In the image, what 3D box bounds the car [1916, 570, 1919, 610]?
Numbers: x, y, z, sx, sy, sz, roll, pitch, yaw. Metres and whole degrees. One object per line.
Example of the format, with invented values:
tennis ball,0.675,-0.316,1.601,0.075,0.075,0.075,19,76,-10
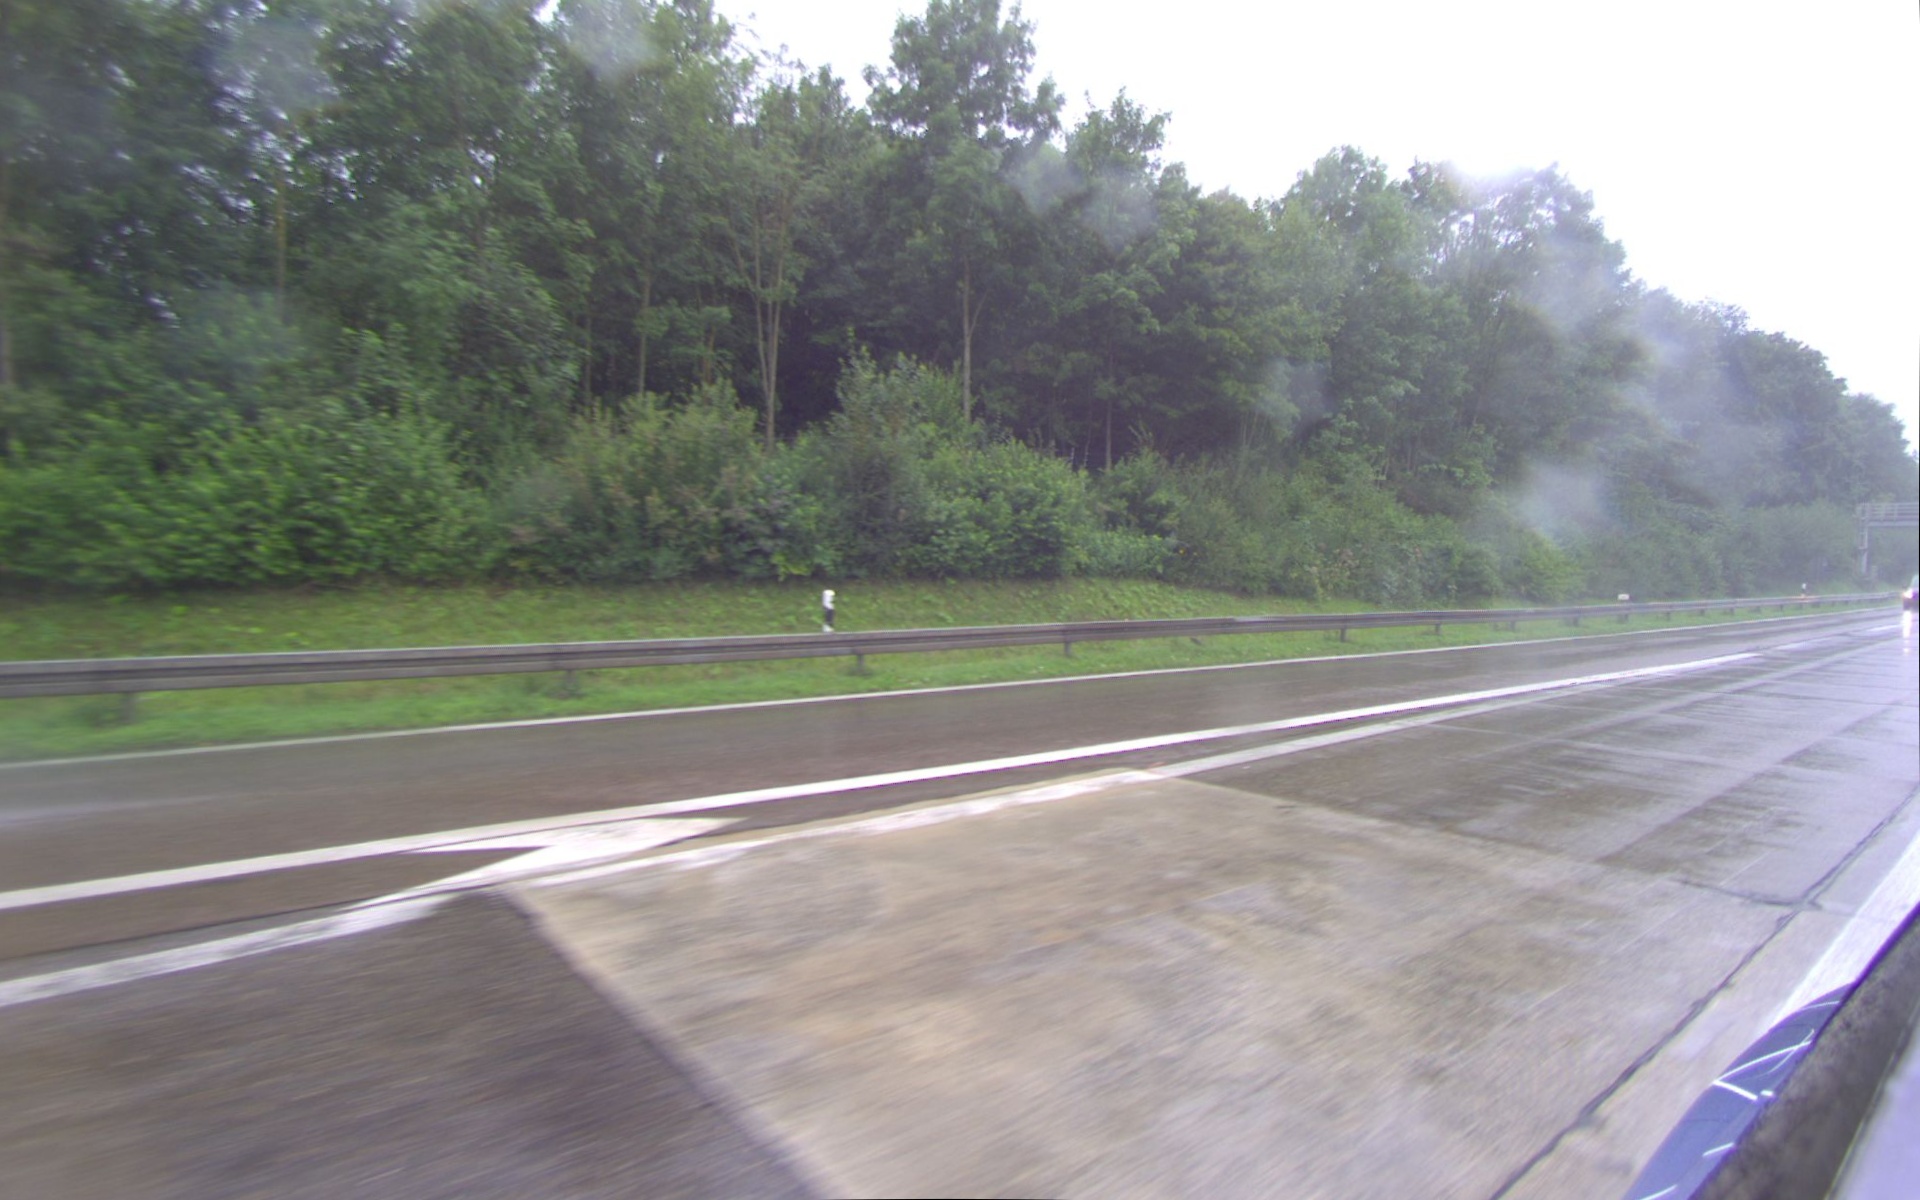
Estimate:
car,51.611,-0.514,52.809,3.926,2.038,1.860,-1,2,-37
